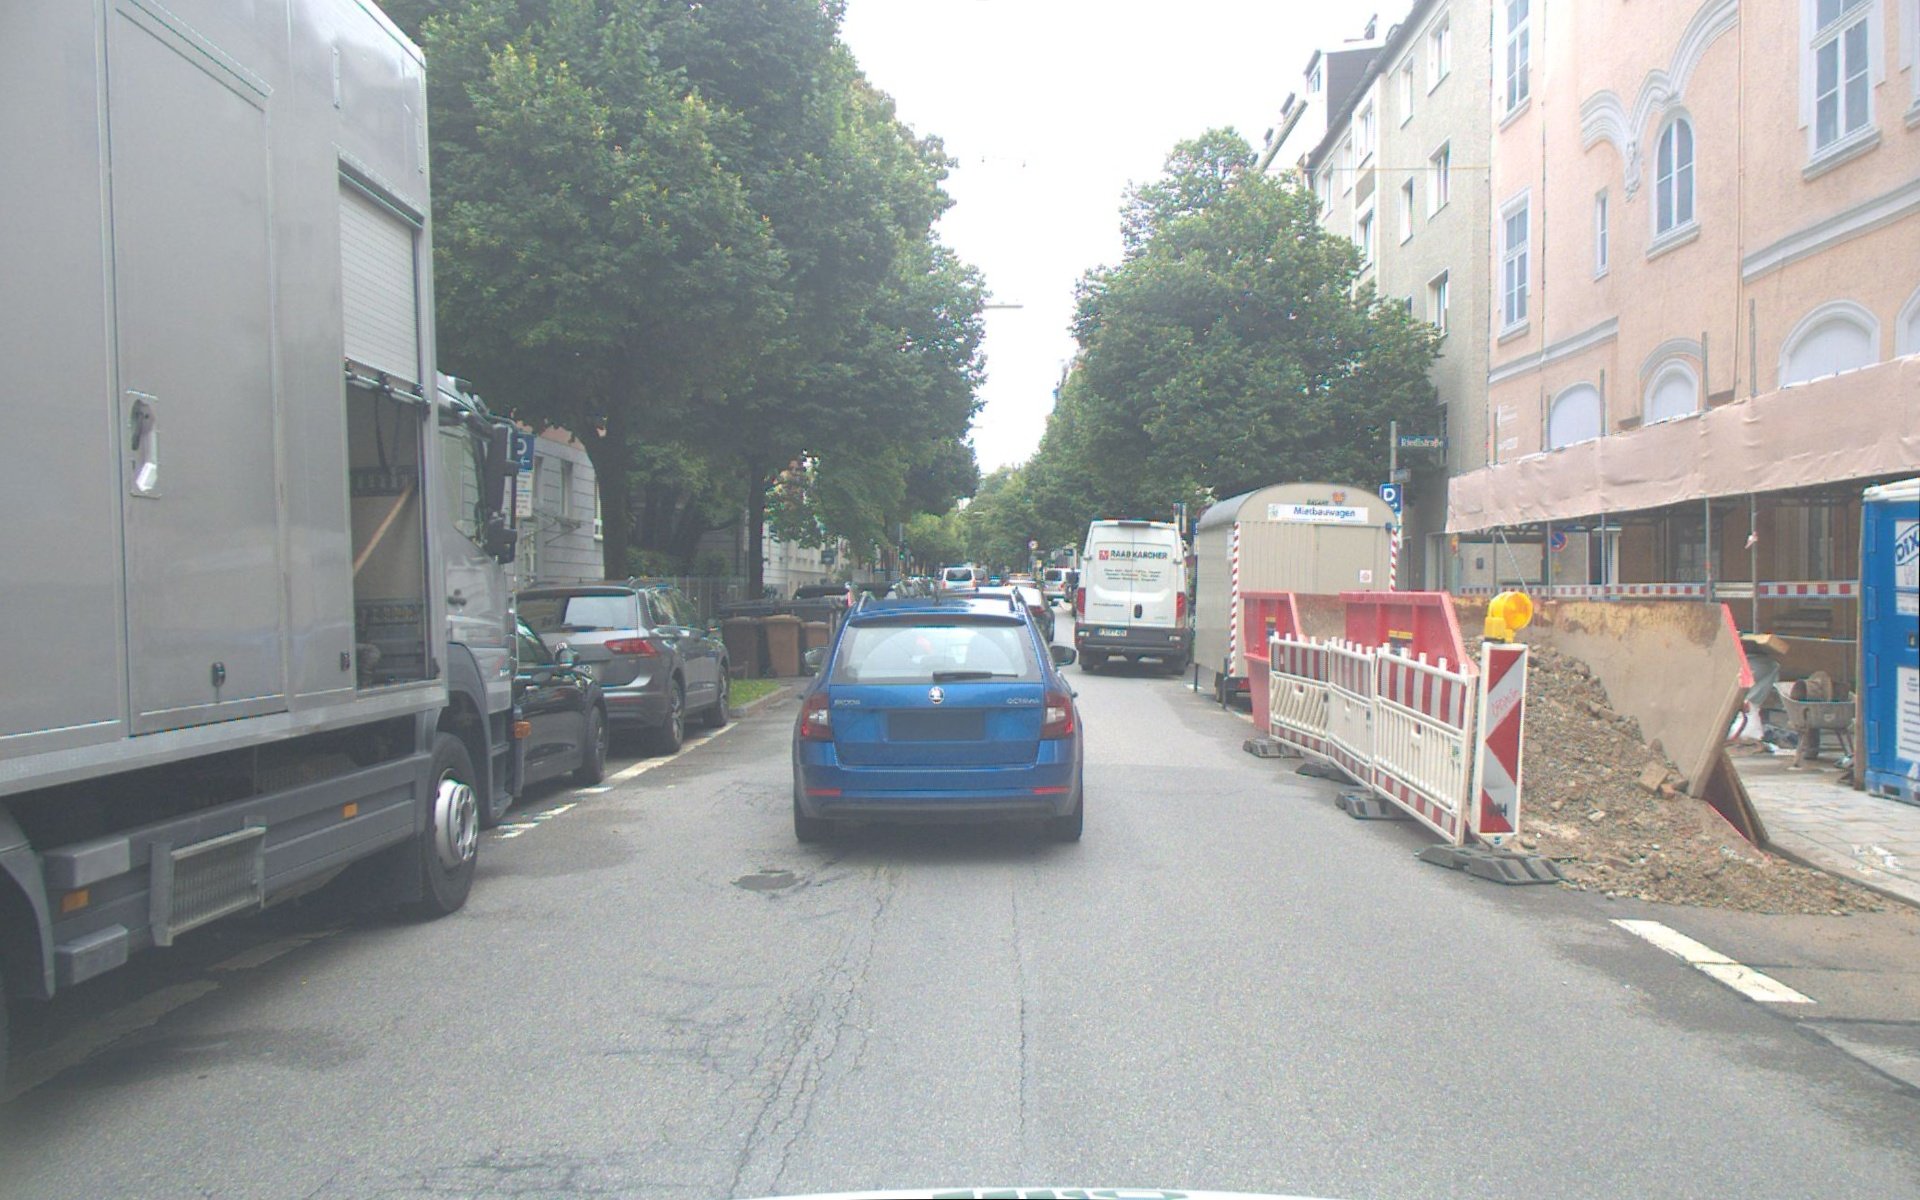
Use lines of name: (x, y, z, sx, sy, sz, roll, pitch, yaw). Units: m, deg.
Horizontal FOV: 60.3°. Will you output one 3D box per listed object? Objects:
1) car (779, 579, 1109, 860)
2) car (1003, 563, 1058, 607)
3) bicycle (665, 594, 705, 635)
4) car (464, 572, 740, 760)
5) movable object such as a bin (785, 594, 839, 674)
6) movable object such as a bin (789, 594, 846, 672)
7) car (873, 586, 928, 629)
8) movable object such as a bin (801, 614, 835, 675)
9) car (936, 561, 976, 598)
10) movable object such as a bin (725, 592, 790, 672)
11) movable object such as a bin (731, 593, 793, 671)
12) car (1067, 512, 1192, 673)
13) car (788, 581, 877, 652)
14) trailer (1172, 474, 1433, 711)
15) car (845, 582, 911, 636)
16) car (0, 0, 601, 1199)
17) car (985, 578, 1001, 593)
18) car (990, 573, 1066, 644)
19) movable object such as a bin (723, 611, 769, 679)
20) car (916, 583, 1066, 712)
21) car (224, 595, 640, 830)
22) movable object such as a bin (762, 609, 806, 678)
car: (0.003, 0.626, 10.938, 1.752, 1.486, 4.316, 0, 0, 2)
car: (2.918, -0.646, 68.836, 1.830, 1.726, 4.345, 1, 1, -3)
bicycle: (-7.704, 0.395, 46.423, 0.621, 1.086, 2.388, 0, 1, 2)
car: (-3.466, 0.570, 16.815, 1.748, 1.656, 4.186, -1, 0, 2)
movable object such as a bin: (-2.688, 0.604, 30.120, 0.899, 1.400, 1.079, -2, 1, -3)
movable object such as a bin: (-2.679, 0.610, 31.218, 1.000, 1.400, 1.103, -2, 1, -3)
car: (-2.166, 0.243, 60.714, 1.775, 1.504, 4.001, 1, 1, 1)
movable object such as a bin: (-2.502, 0.784, 29.264, 0.535, 1.038, 0.636, -2, 0, -2)
car: (-0.239, -1.119, 89.716, 1.831, 1.902, 4.343, 1, 1, -5)
movable object such as a bin: (-3.665, 0.567, 30.048, 1.060, 1.400, 1.083, -2, 1, -3)
movable object such as a bin: (-3.715, 0.583, 31.149, 1.036, 1.400, 1.095, -2, 1, -3)
car: (3.253, -0.122, 31.241, 2.068, 2.710, 5.504, 2, 0, 7)
car: (-2.873, 0.342, 37.943, 1.775, 1.504, 4.000, 1, 1, -1)
trailer: (4.723, -0.092, 24.125, 2.450, 2.889, 6.902, 1, 0, 1)
car: (-2.360, 0.233, 48.671, 1.775, 1.504, 4.000, 1, 1, -1)
car: (-3.504, -0.505, 5.142, 2.754, 3.884, 8.724, 0, 0, 1)
car: (3.937, -1.735, 199.164, 1.829, 1.770, 4.348, 0, 1, 1)
car: (1.746, 0.173, 43.649, 1.829, 1.726, 4.348, 1, 1, 1)
movable object such as a bin: (-3.763, 0.782, 29.163, 0.706, 1.158, 0.658, -2, 0, -2)
car: (0.450, 0.549, 21.099, 1.705, 1.446, 3.665, 2, 0, 3)
car: (-3.605, 0.689, 12.007, 1.663, 1.434, 3.710, 0, 0, 3)
movable object such as a bin: (-3.109, 0.761, 29.210, 0.697, 1.168, 0.636, -2, 0, -2)
